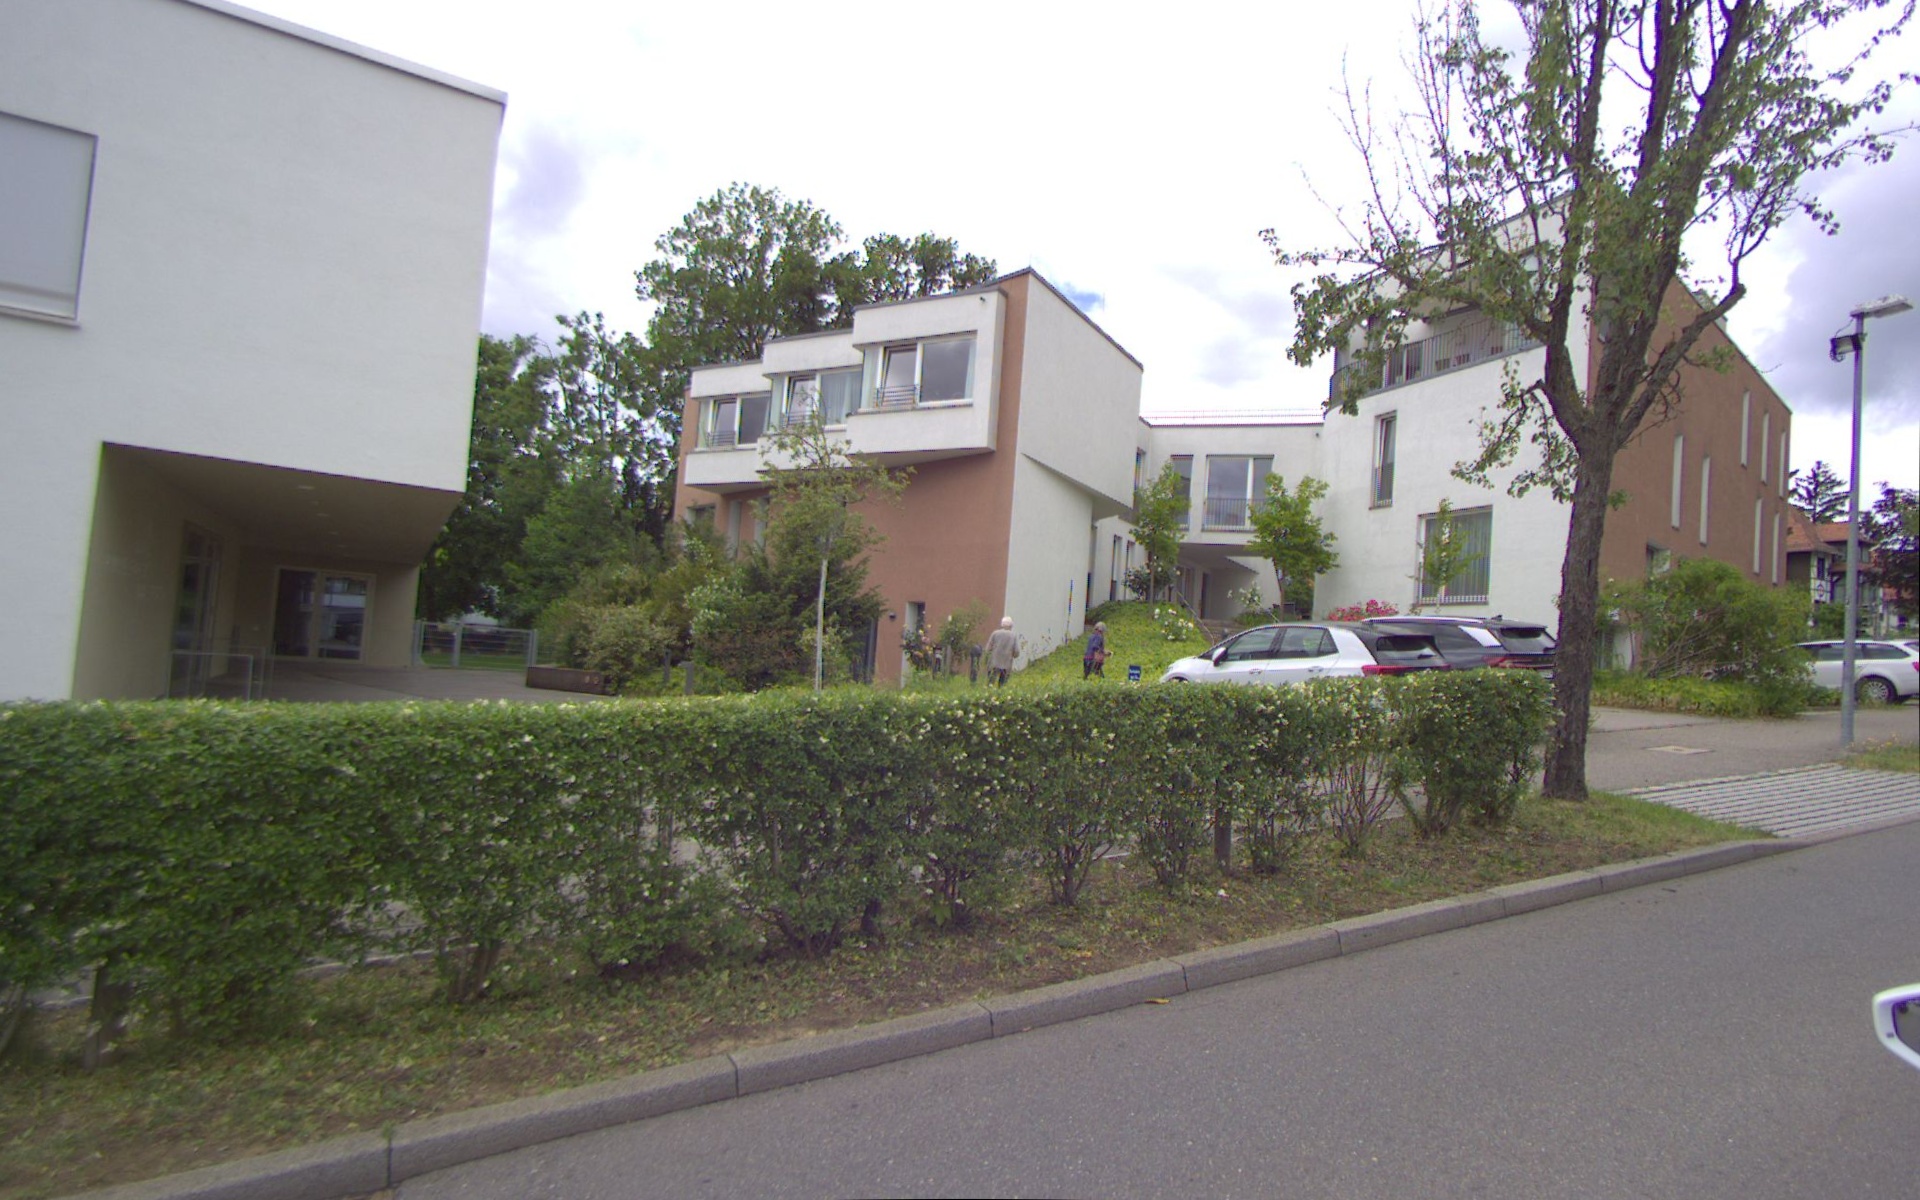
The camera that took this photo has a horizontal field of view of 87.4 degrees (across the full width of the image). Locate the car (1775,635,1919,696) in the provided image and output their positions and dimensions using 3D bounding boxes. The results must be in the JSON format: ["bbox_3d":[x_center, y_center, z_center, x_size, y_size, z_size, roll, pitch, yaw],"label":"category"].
[{"bbox_3d":[23.796,1.664,26.121,1.715,1.483,3.734,1,-2,-36],"label":"car"}]

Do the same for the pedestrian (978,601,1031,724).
[{"bbox_3d":[0.627,0.874,14.333,0.513,1.704,0.586,2,-2,-29],"label":"pedestrian"}]

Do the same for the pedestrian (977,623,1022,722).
[{"bbox_3d":[0.678,1.246,17.395,0.558,1.662,0.591,2,-2,-29],"label":"pedestrian"}]

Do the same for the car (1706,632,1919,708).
[{"bbox_3d":[20.498,1.616,23.695,1.992,1.644,4.236,3,-4,-33],"label":"car"}]

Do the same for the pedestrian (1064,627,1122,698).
[{"bbox_3d":[2.521,1.182,19.112,0.889,1.300,0.604,2,0,-31],"label":"pedestrian"}]

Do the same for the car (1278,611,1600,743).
[{"bbox_3d":[6.994,1.030,15.078,1.984,1.675,3.970,2,-1,-29],"label":"car"}]

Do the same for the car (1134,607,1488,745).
[{"bbox_3d":[4.637,0.960,13.943,2.043,1.587,4.364,2,-2,-31],"label":"car"}]
